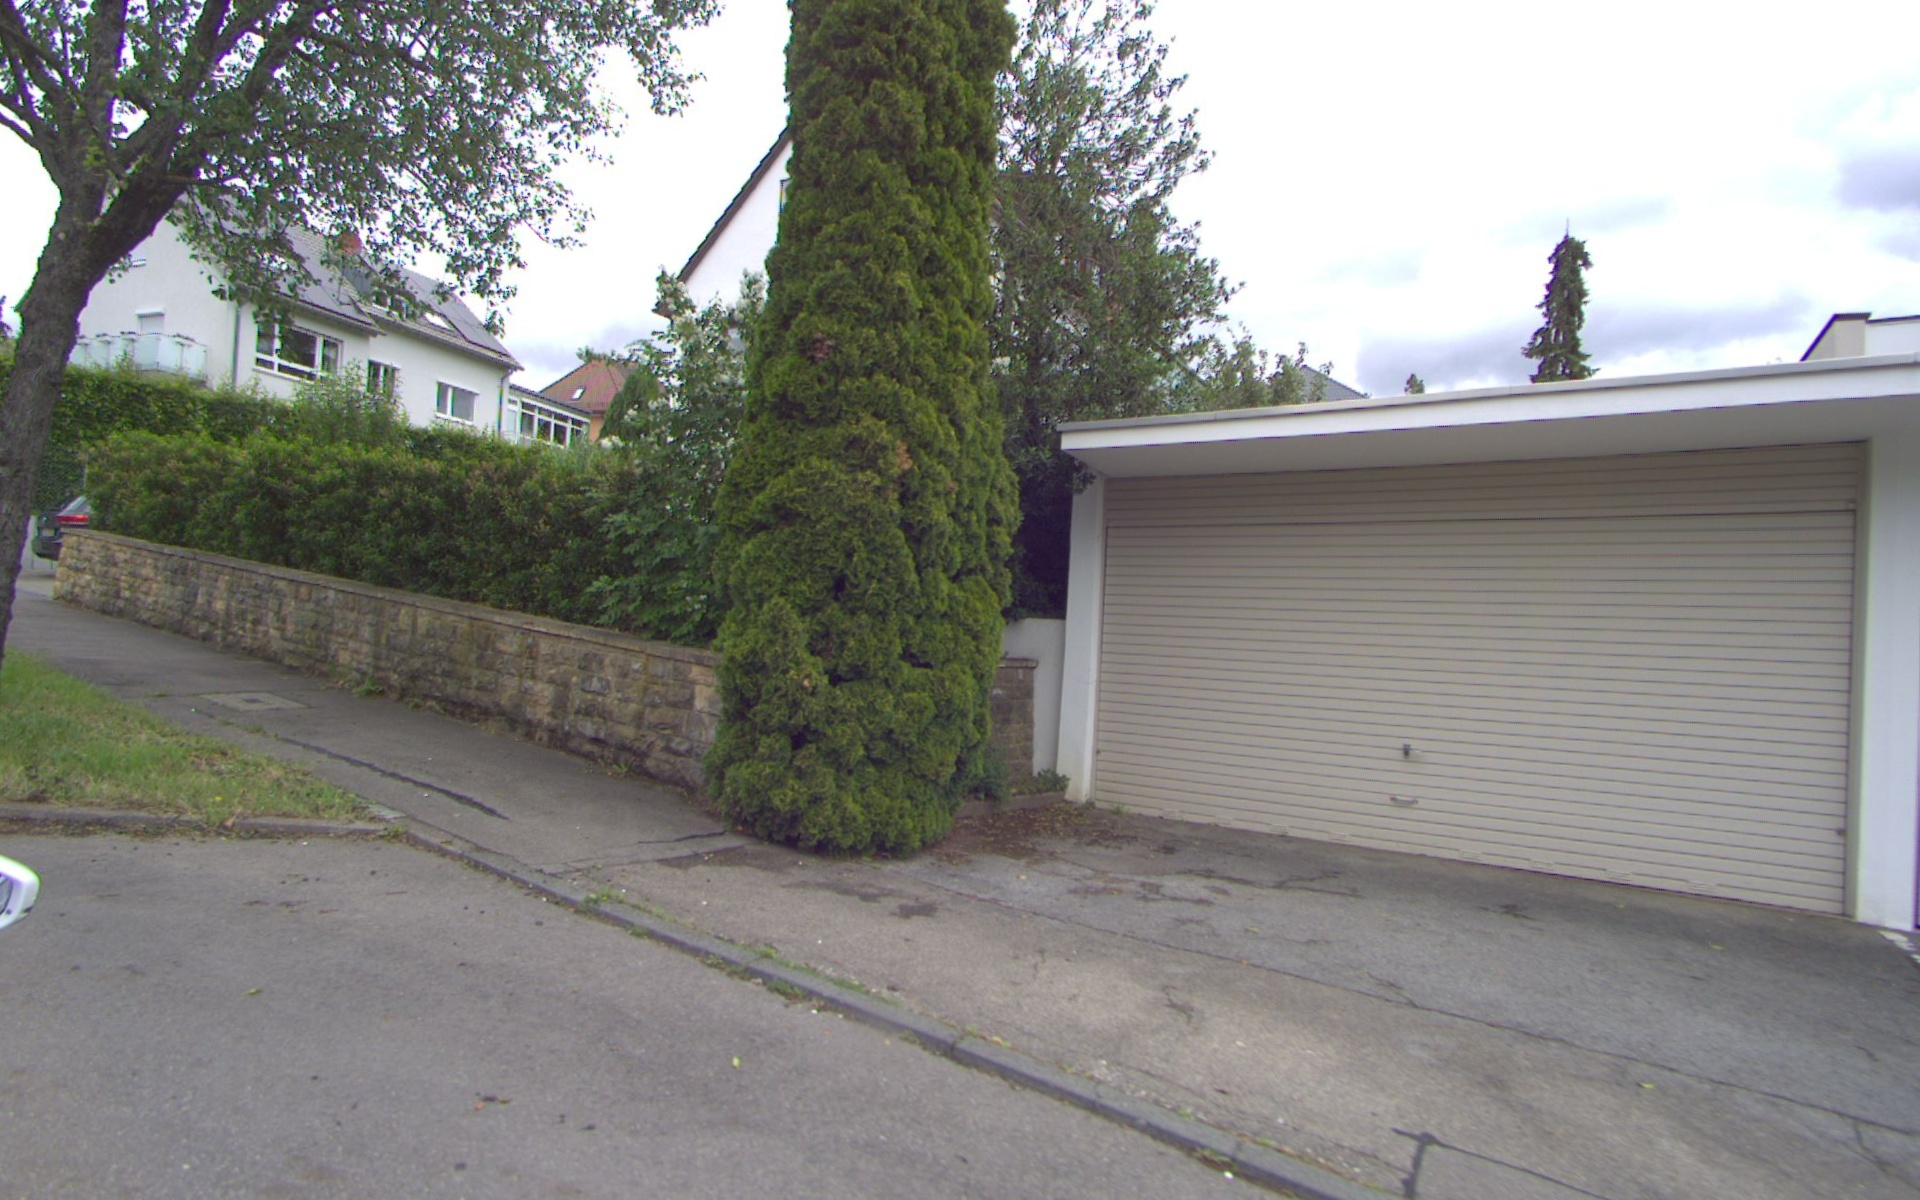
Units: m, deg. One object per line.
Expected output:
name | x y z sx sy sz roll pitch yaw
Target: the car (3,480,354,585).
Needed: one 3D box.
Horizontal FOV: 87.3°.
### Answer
car | -13.274 -1.197 17.409 1.935 1.491 4.357 7 7 30
